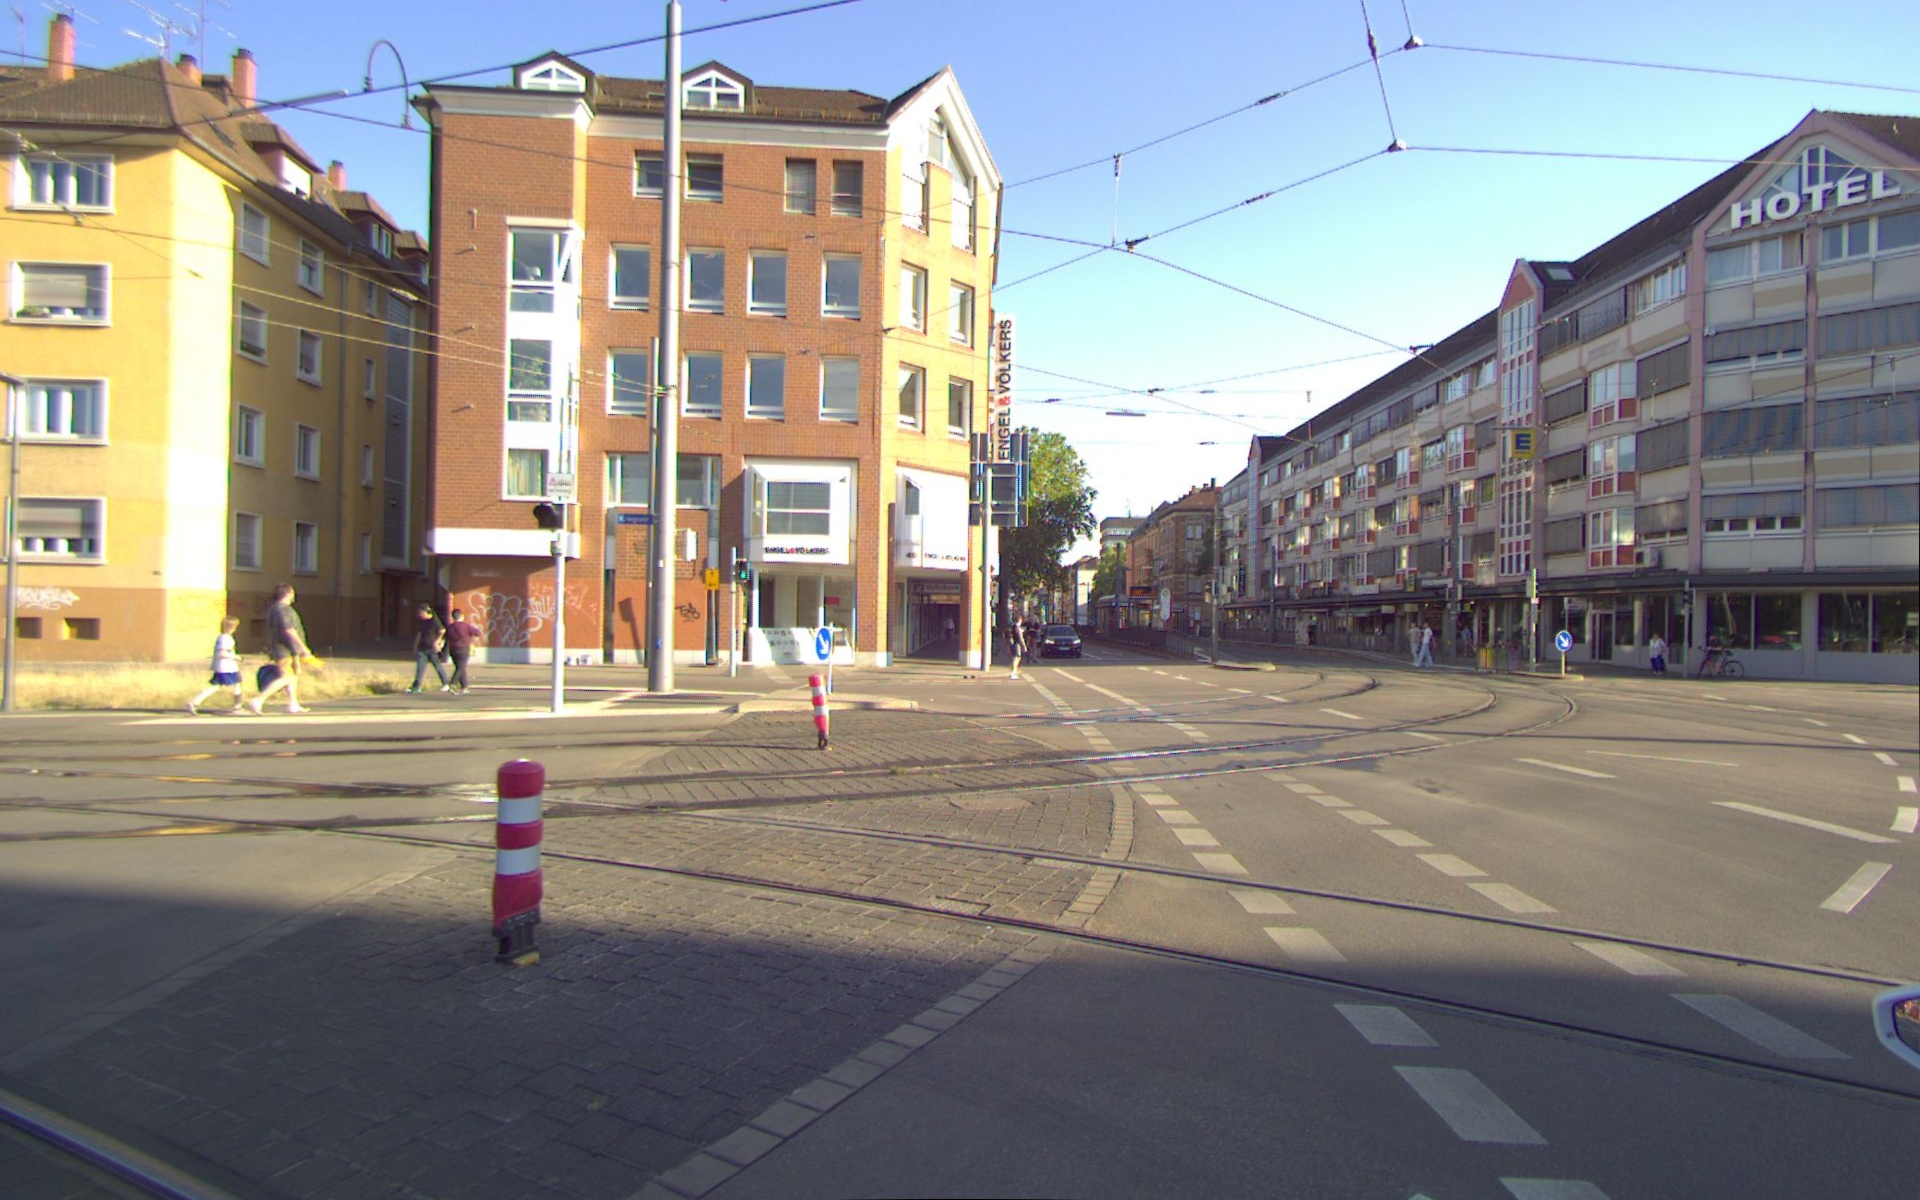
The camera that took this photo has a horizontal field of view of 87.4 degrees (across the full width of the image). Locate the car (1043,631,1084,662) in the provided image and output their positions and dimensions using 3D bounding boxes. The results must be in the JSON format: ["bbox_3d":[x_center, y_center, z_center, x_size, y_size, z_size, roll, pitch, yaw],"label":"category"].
[{"bbox_3d":[4.926,2.186,48.008,1.715,1.261,3.938,1,0,3],"label":"car"}]

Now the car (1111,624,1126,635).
[{"bbox_3d":[25.984,4.862,164.323,1.960,1.573,4.001,1,0,2],"label":"car"}]

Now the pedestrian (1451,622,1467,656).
[{"bbox_3d":[28.562,2.213,57.494,0.598,1.877,0.604,1,1,6],"label":"pedestrian"}]

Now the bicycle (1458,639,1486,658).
[{"bbox_3d":[27.271,2.585,53.519,0.491,0.929,2.079,1,-1,1],"label":"bicycle"}]

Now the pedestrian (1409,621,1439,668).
[{"bbox_3d":[17.871,1.716,38.676,0.991,1.788,0.507,1,1,-24],"label":"pedestrian"}]

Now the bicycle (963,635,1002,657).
[{"bbox_3d":[1.072,2.204,47.914,1.801,0.974,0.544,1,1,-2],"label":"bicycle"}]

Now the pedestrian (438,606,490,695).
[{"bbox_3d":[-9.312,0.929,18.838,0.781,1.610,0.602,1,1,-35],"label":"pedestrian"}]

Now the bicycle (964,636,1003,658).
[{"bbox_3d":[1.104,2.213,47.086,1.801,0.974,0.544,1,1,-2],"label":"bicycle"}]

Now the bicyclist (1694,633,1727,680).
[{"bbox_3d":[26.557,1.983,35.554,0.645,1.618,0.641,-1,1,-1],"label":"bicyclist"}]

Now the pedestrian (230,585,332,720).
[{"bbox_3d":[-9.389,0.694,13.904,0.762,1.781,0.899,2,1,27],"label":"pedestrian"}]

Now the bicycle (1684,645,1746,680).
[{"bbox_3d":[26.720,2.210,35.563,1.735,1.160,0.641,-1,1,-1],"label":"bicycle"}]

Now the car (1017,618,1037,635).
[{"bbox_3d":[6.204,2.427,93.901,1.716,1.443,3.938,1,0,2],"label":"car"}]

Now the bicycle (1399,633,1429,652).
[{"bbox_3d":[28.410,2.647,62.878,1.618,1.134,0.565,1,1,-5],"label":"bicycle"}]

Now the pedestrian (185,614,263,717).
[{"bbox_3d":[-10.166,0.894,13.889,0.584,1.378,0.608,-1,-2,16],"label":"pedestrian"}]

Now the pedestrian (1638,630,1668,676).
[{"bbox_3d":[25.765,1.958,37.357,0.625,1.684,0.711,2,-1,-28],"label":"pedestrian"}]

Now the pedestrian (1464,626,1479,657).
[{"bbox_3d":[27.971,2.254,54.928,0.602,1.657,0.600,2,1,42],"label":"pedestrian"}]

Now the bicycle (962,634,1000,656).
[{"bbox_3d":[1.017,2.196,48.892,1.801,0.974,0.544,1,1,-2],"label":"bicycle"}]

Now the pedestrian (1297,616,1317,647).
[{"bbox_3d":[19.575,1.772,56.638,0.767,1.682,0.682,1,1,-10],"label":"pedestrian"}]

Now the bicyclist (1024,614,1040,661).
[{"bbox_3d":[3.024,1.552,42.073,0.622,1.904,0.811,1,1,6],"label":"bicyclist"}]

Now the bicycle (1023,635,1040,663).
[{"bbox_3d":[3.000,2.025,41.978,0.622,1.063,1.838,1,0,6],"label":"bicycle"}]

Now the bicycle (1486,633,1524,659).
[{"bbox_3d":[27.371,2.302,50.488,0.715,1.243,2.333,1,-1,1],"label":"bicycle"}]

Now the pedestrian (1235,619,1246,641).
[{"bbox_3d":[26.973,2.896,96.572,0.825,2.041,0.778,1,1,5],"label":"pedestrian"}]

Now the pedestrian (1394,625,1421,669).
[{"bbox_3d":[17.820,1.862,39.991,0.859,1.717,0.617,1,1,-36],"label":"pedestrian"}]

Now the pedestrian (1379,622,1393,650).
[{"bbox_3d":[28.044,2.362,66.111,0.805,1.802,0.679,2,1,26],"label":"pedestrian"}]

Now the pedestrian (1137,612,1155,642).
[{"bbox_3d":[10.266,1.495,55.400,0.681,1.599,0.618,1,1,-25],"label":"pedestrian"}]

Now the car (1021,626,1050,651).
[{"bbox_3d":[4.938,2.494,65.924,1.716,1.443,3.938,1,0,2],"label":"car"}]

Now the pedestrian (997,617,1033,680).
[{"bbox_3d":[1.569,1.380,28.828,0.816,1.781,0.693,1,1,-18],"label":"pedestrian"}]

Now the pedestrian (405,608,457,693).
[{"bbox_3d":[-10.260,0.971,19.501,0.830,1.605,0.679,1,1,-24],"label":"pedestrian"}]

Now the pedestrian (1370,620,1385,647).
[{"bbox_3d":[26.641,2.151,64.072,0.738,1.667,0.550,1,1,5],"label":"pedestrian"}]
